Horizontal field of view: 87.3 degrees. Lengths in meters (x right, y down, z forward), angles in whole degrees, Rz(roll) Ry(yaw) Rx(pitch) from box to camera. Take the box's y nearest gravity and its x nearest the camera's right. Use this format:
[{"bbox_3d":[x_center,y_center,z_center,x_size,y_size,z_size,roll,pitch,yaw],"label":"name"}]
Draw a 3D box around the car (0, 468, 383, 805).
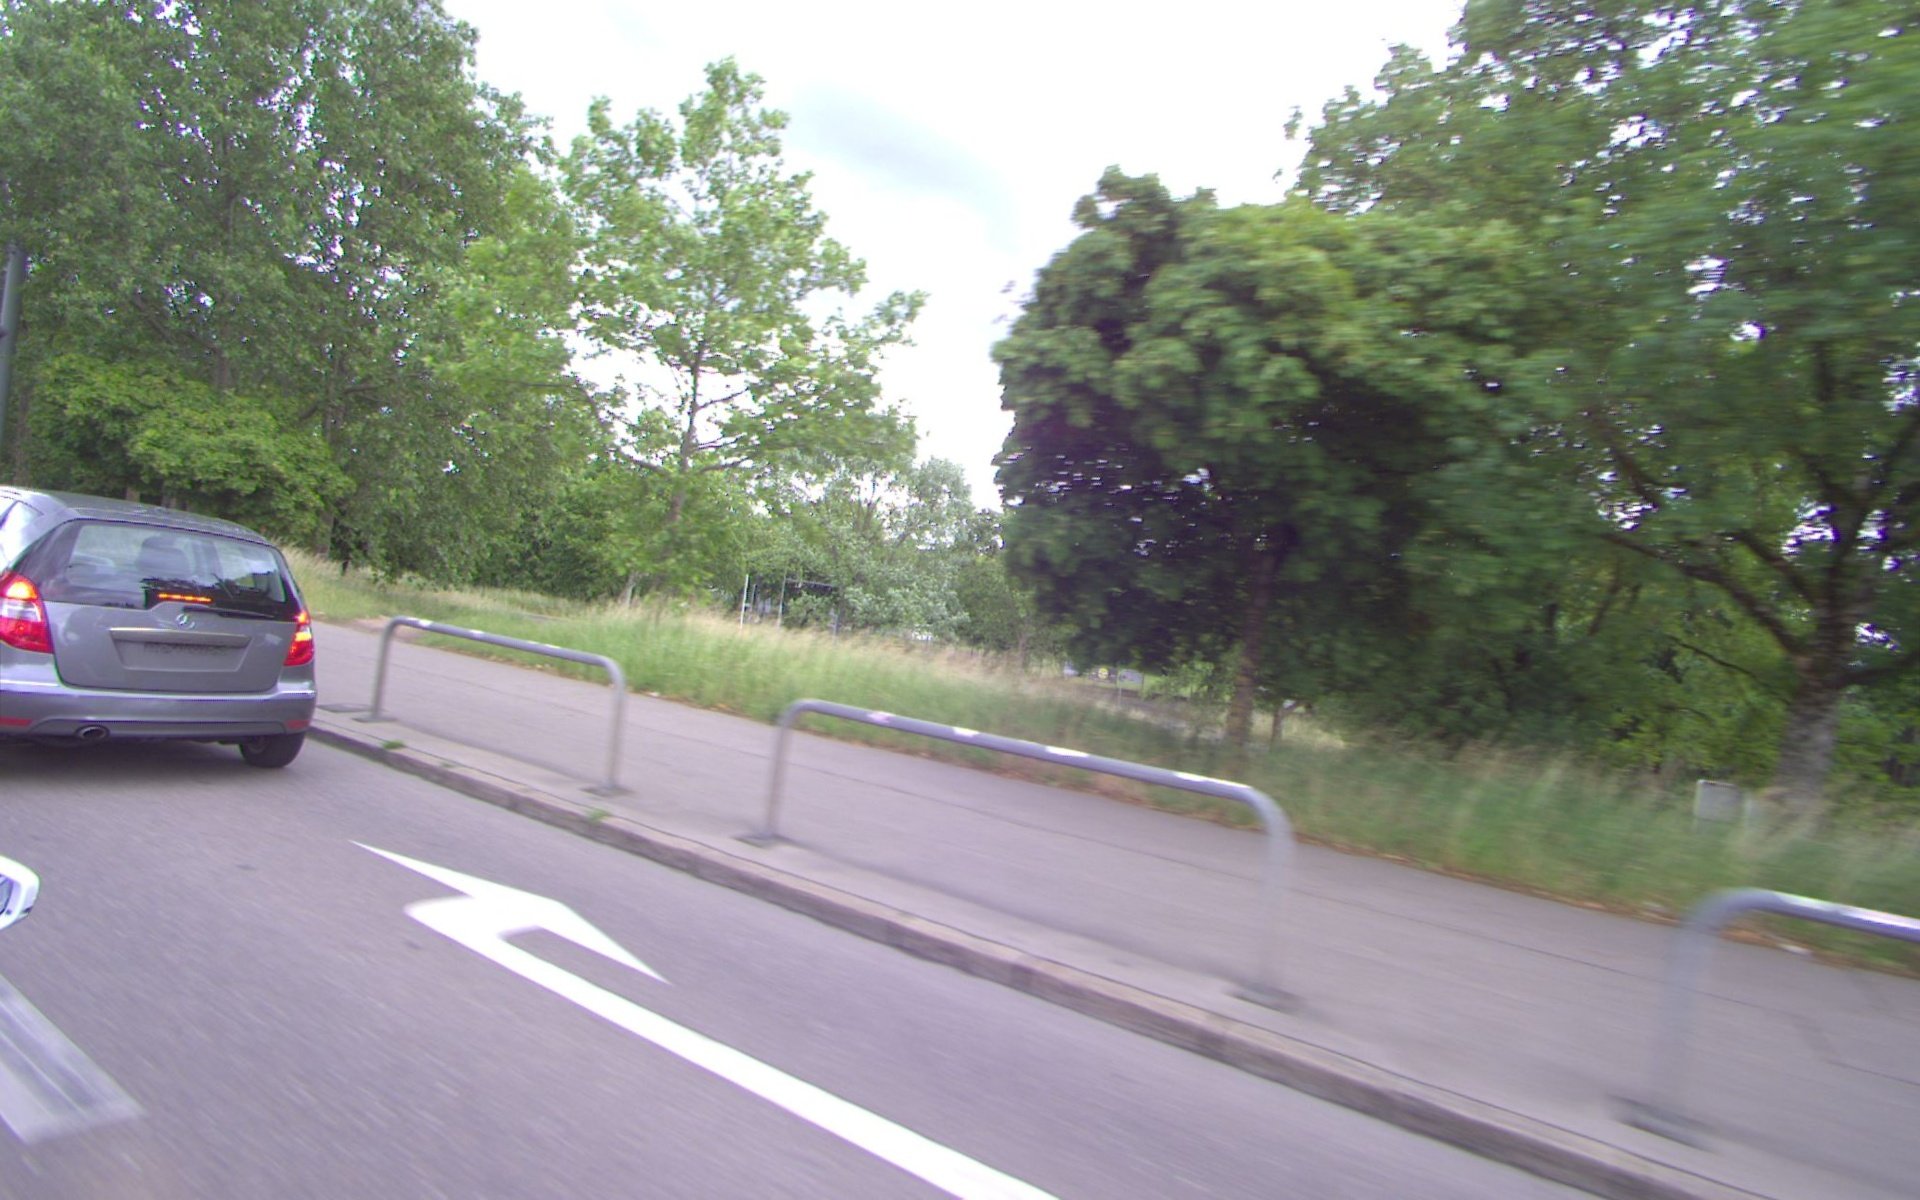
[{"bbox_3d":[-5.883,0.051,6.632,3.967,1.635,1.829,8,-1,32],"label":"car"}]
